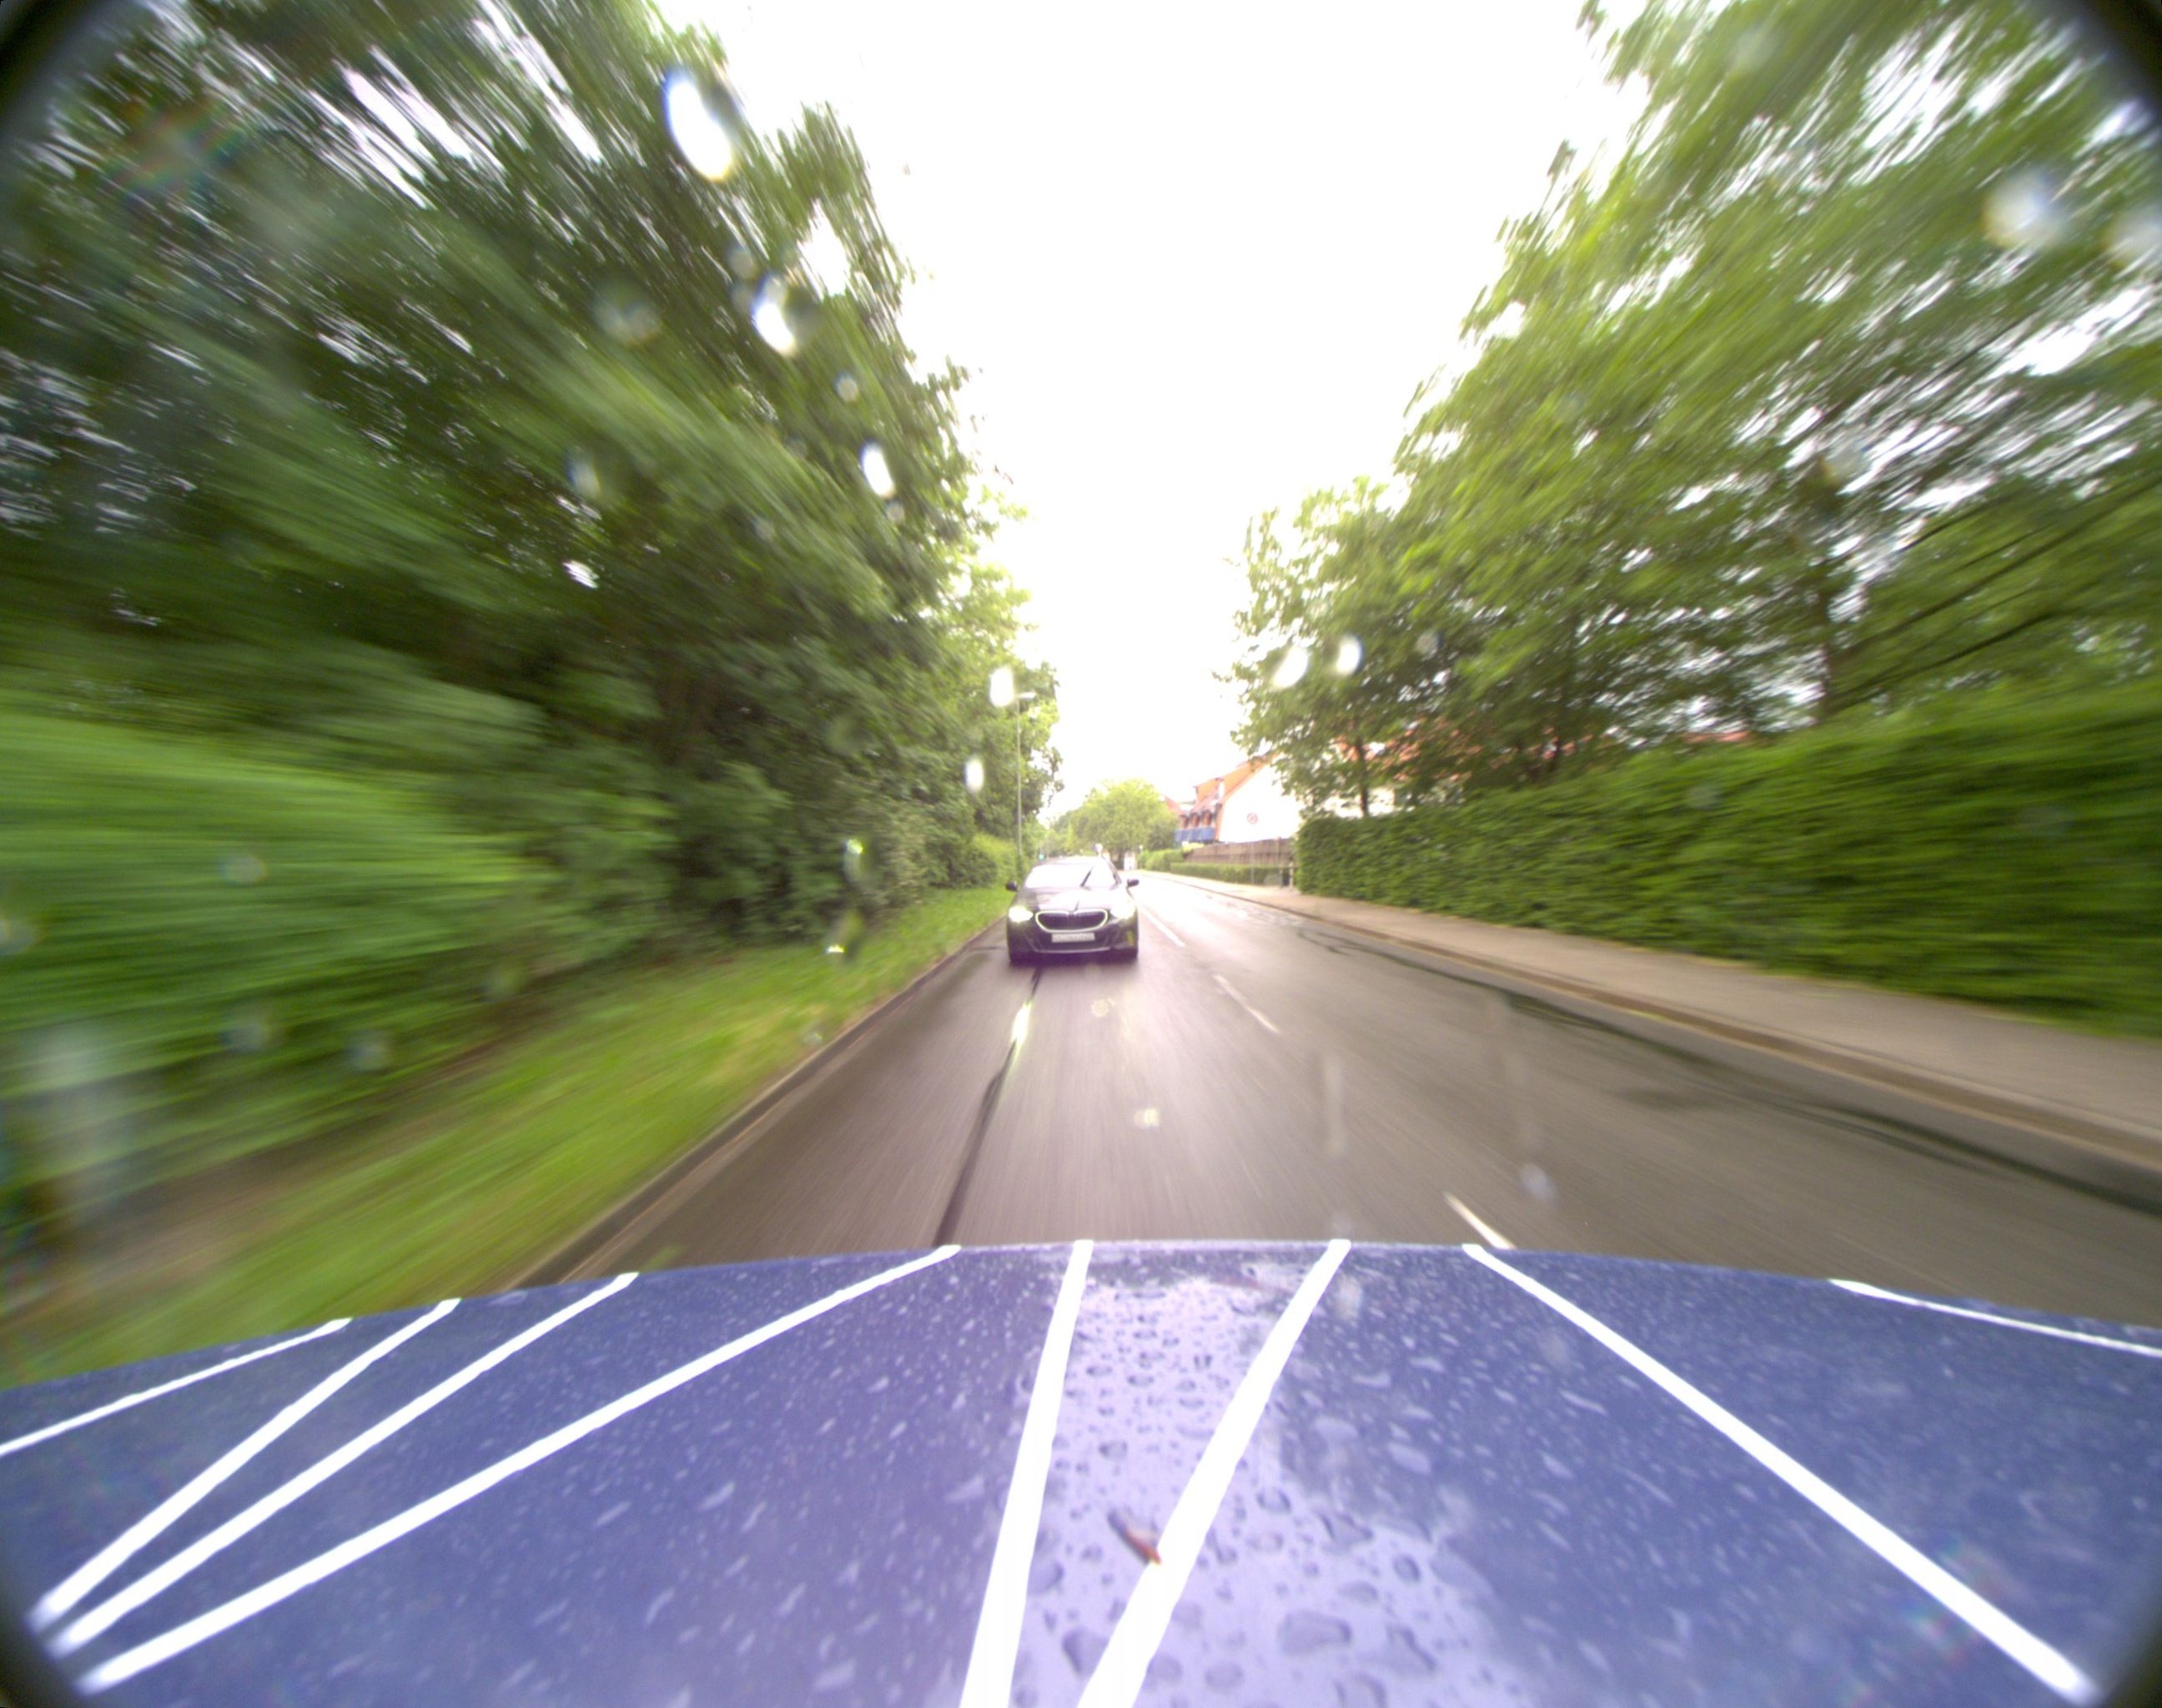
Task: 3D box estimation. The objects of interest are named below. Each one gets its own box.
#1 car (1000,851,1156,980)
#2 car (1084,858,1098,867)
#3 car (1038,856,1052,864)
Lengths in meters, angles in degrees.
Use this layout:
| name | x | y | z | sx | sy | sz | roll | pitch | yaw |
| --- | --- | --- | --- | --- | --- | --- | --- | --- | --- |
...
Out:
| name | x | y | z | sx | sy | sz | roll | pitch | yaw |
| --- | --- | --- | --- | --- | --- | --- | --- | --- | --- |
| car | -0.222 | 0.843 | 12.239 | 1.999 | 1.586 | 4.146 | -4 | 0 | -5 |
| car | 1.538 | 1.290 | 121.250 | 1.999 | 1.412 | 4.485 | 0 | 0 | -2 |
| car | -8.045 | 1.264 | 167.700 | 2.002 | 1.652 | 4.297 | -1 | -1 | -18 |
